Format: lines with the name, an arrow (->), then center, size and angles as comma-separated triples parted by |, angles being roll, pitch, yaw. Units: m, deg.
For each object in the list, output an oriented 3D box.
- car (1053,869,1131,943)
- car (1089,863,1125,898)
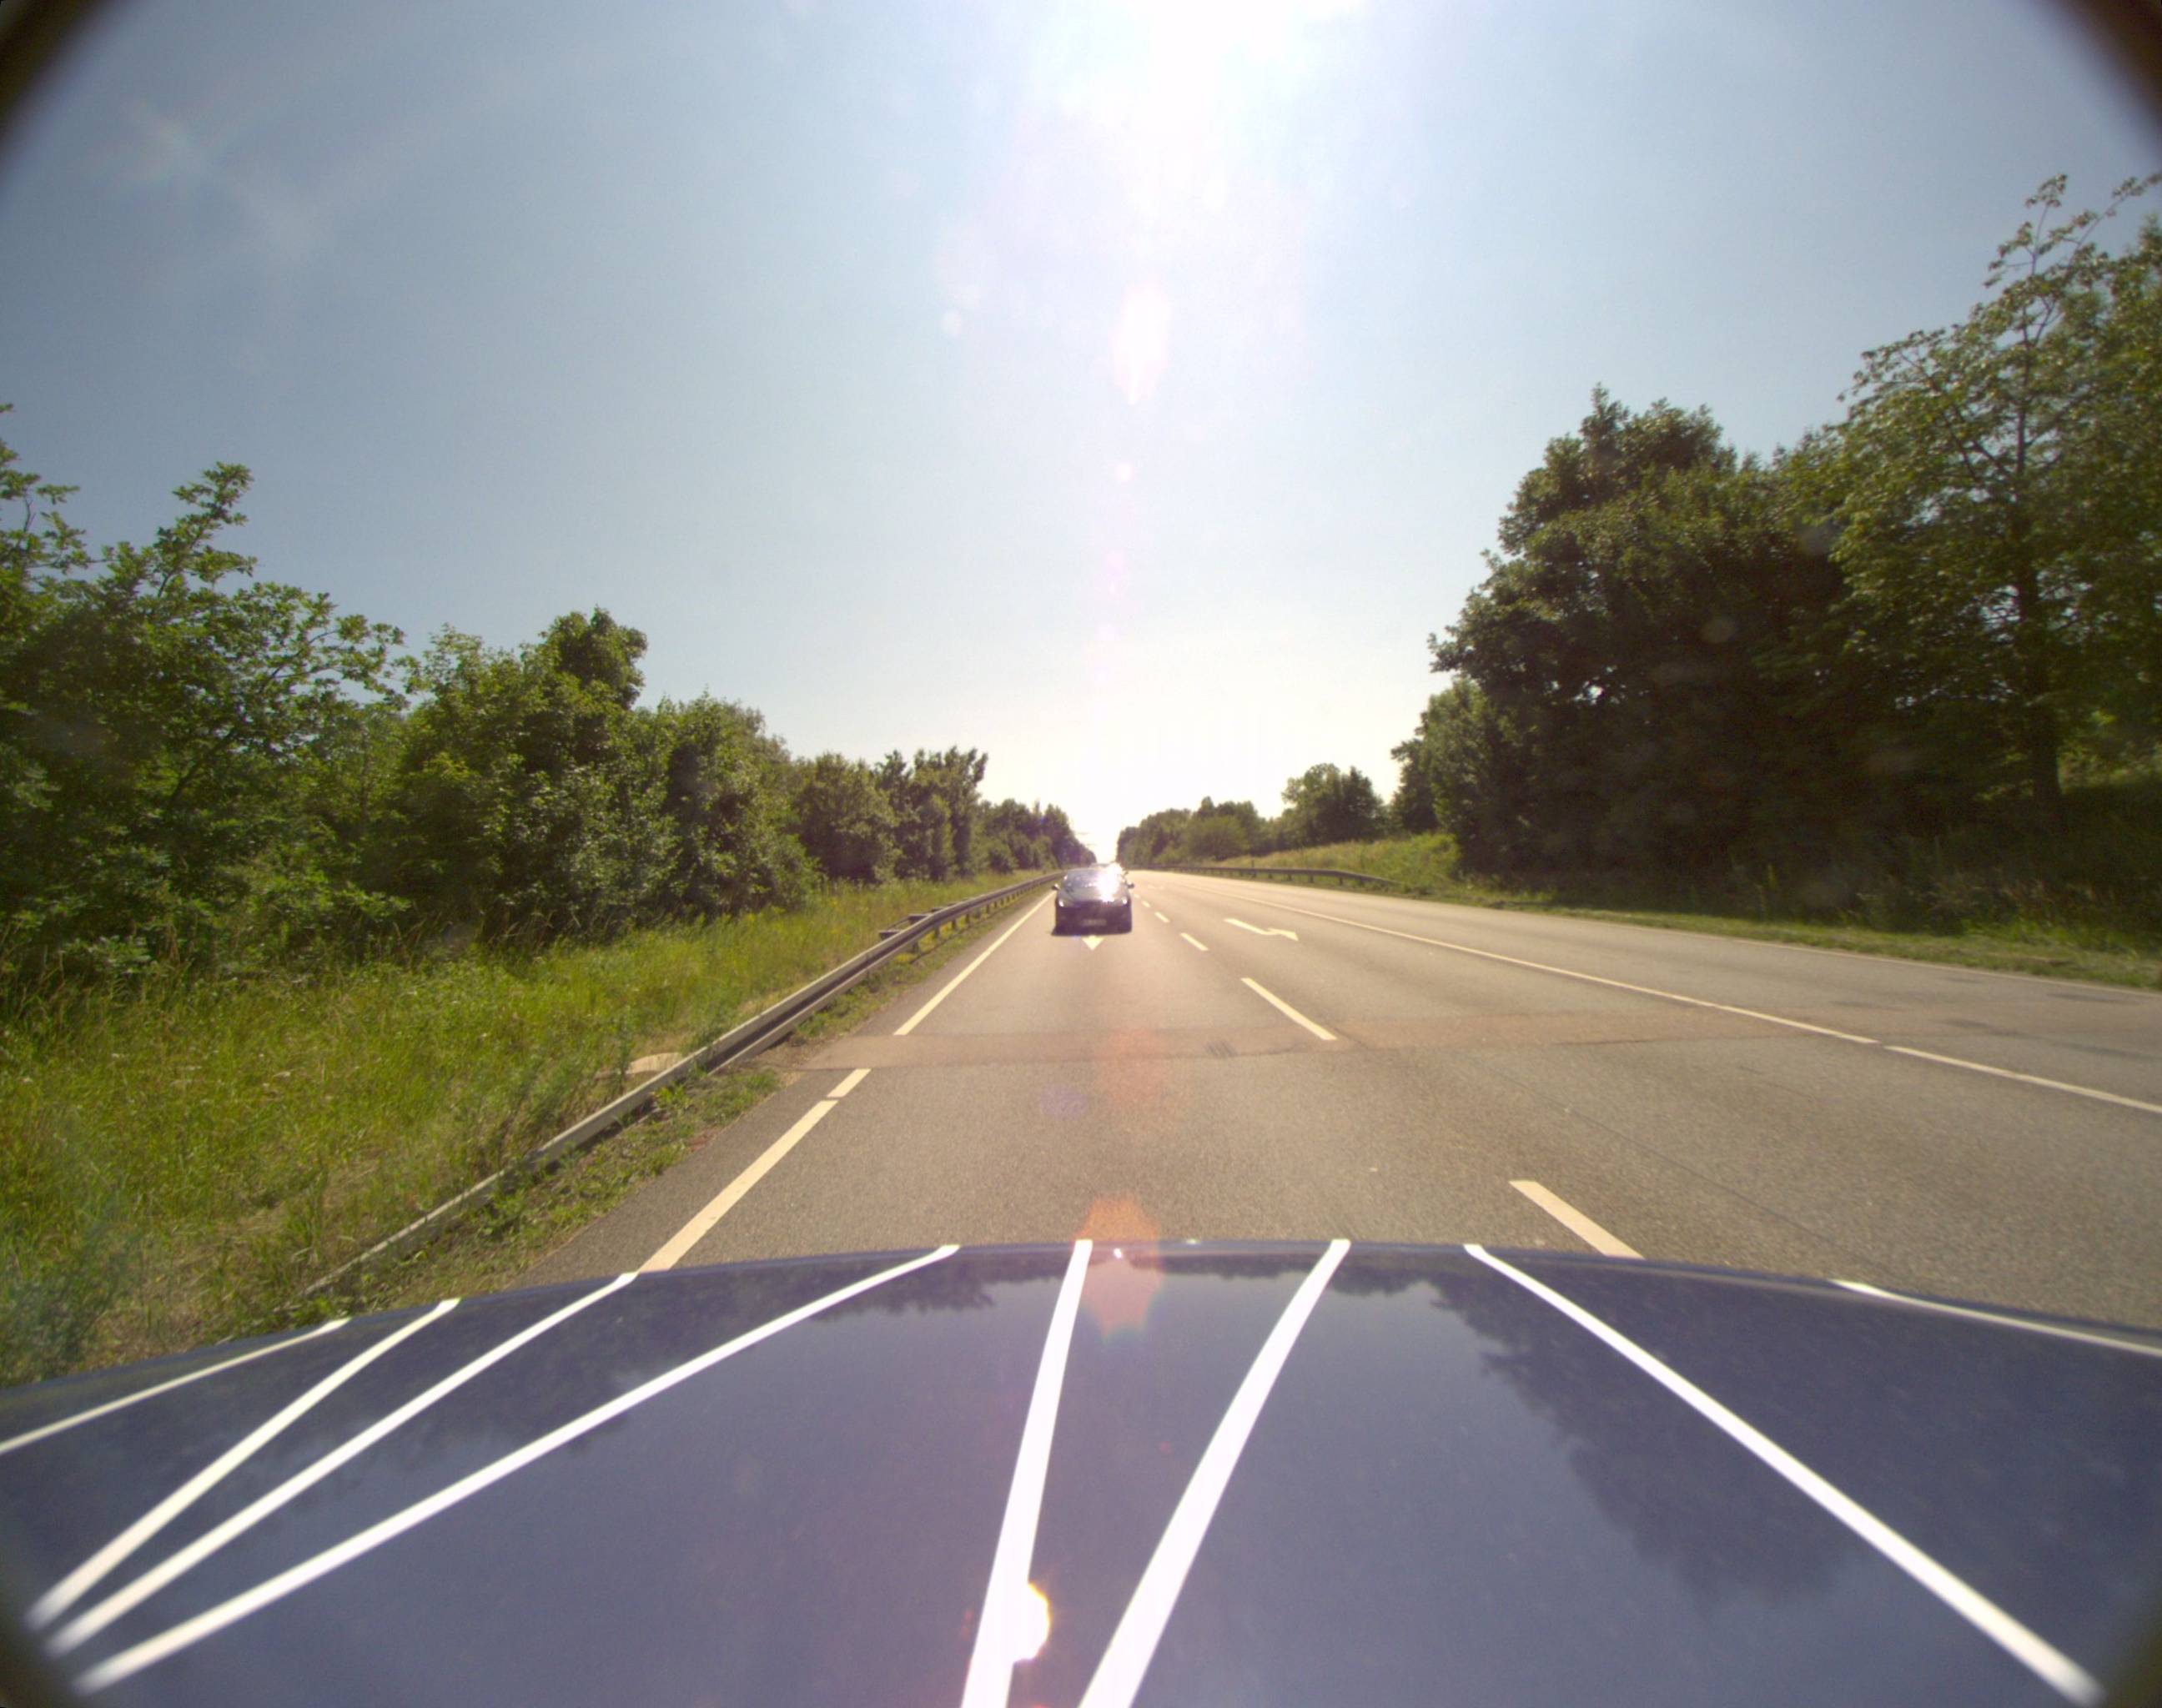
car -> 0.280, 1.075, 16.922 | 1.529, 1.387, 3.444 | -2, 0, 2
car -> 1.108, 1.147, 33.898 | 1.443, 1.442, 3.299 | -2, -1, 0
